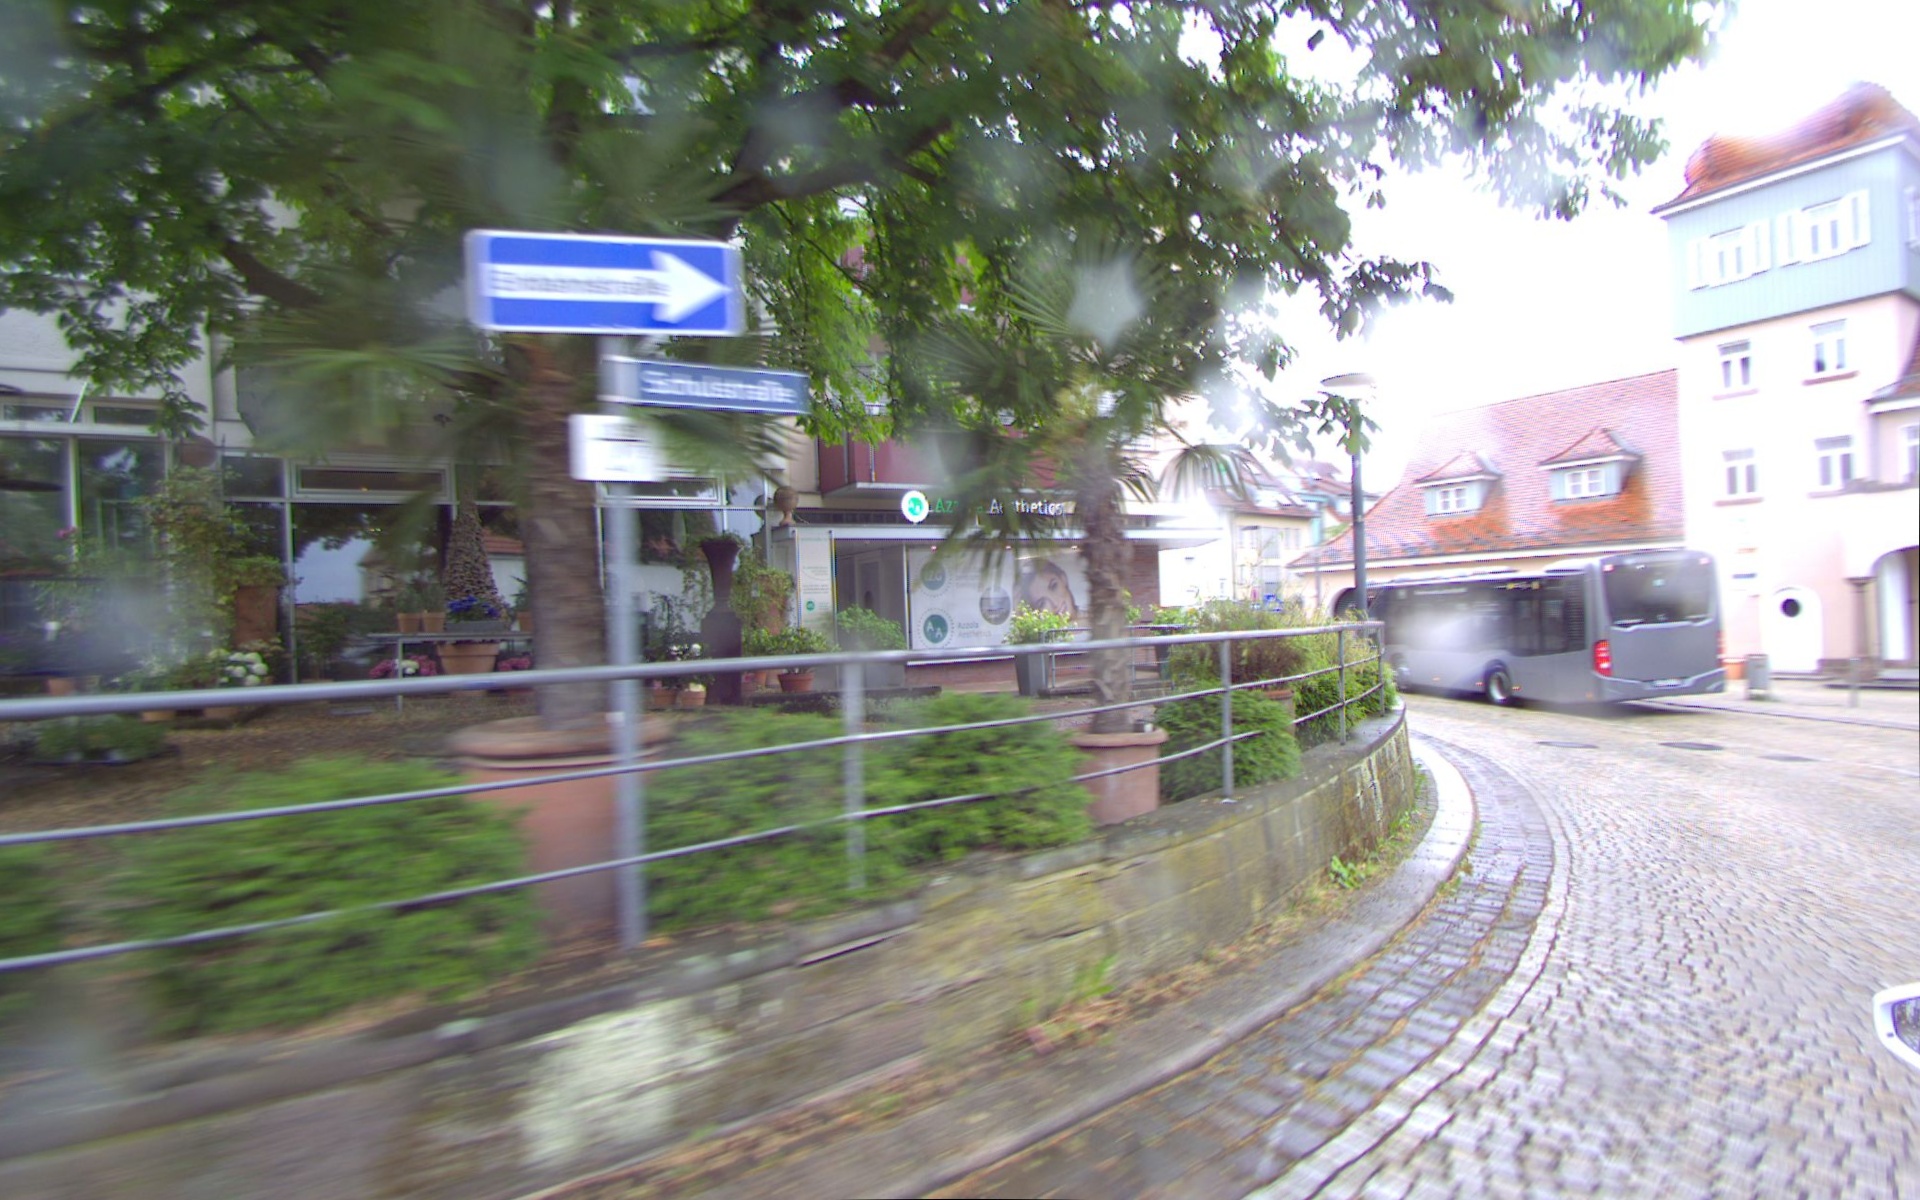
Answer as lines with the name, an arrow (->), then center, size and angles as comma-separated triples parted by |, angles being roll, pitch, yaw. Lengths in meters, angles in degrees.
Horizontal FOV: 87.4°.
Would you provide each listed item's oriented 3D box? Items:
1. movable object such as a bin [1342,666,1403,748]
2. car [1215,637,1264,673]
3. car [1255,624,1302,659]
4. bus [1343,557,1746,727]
movable object such as a bin -> 5.806, 1.498, 14.155 | 0.667, 1.101, 0.540 | -1, 0, 9
car -> 17.206, 3.358, 61.729 | 1.964, 1.889, 3.992 | -1, 1, 30
car -> 21.033, 2.694, 66.283 | 1.966, 2.041, 3.989 | -1, 1, 33
bus -> 12.788, 0.929, 23.767 | 2.735, 3.029, 10.553 | -2, -2, -4
